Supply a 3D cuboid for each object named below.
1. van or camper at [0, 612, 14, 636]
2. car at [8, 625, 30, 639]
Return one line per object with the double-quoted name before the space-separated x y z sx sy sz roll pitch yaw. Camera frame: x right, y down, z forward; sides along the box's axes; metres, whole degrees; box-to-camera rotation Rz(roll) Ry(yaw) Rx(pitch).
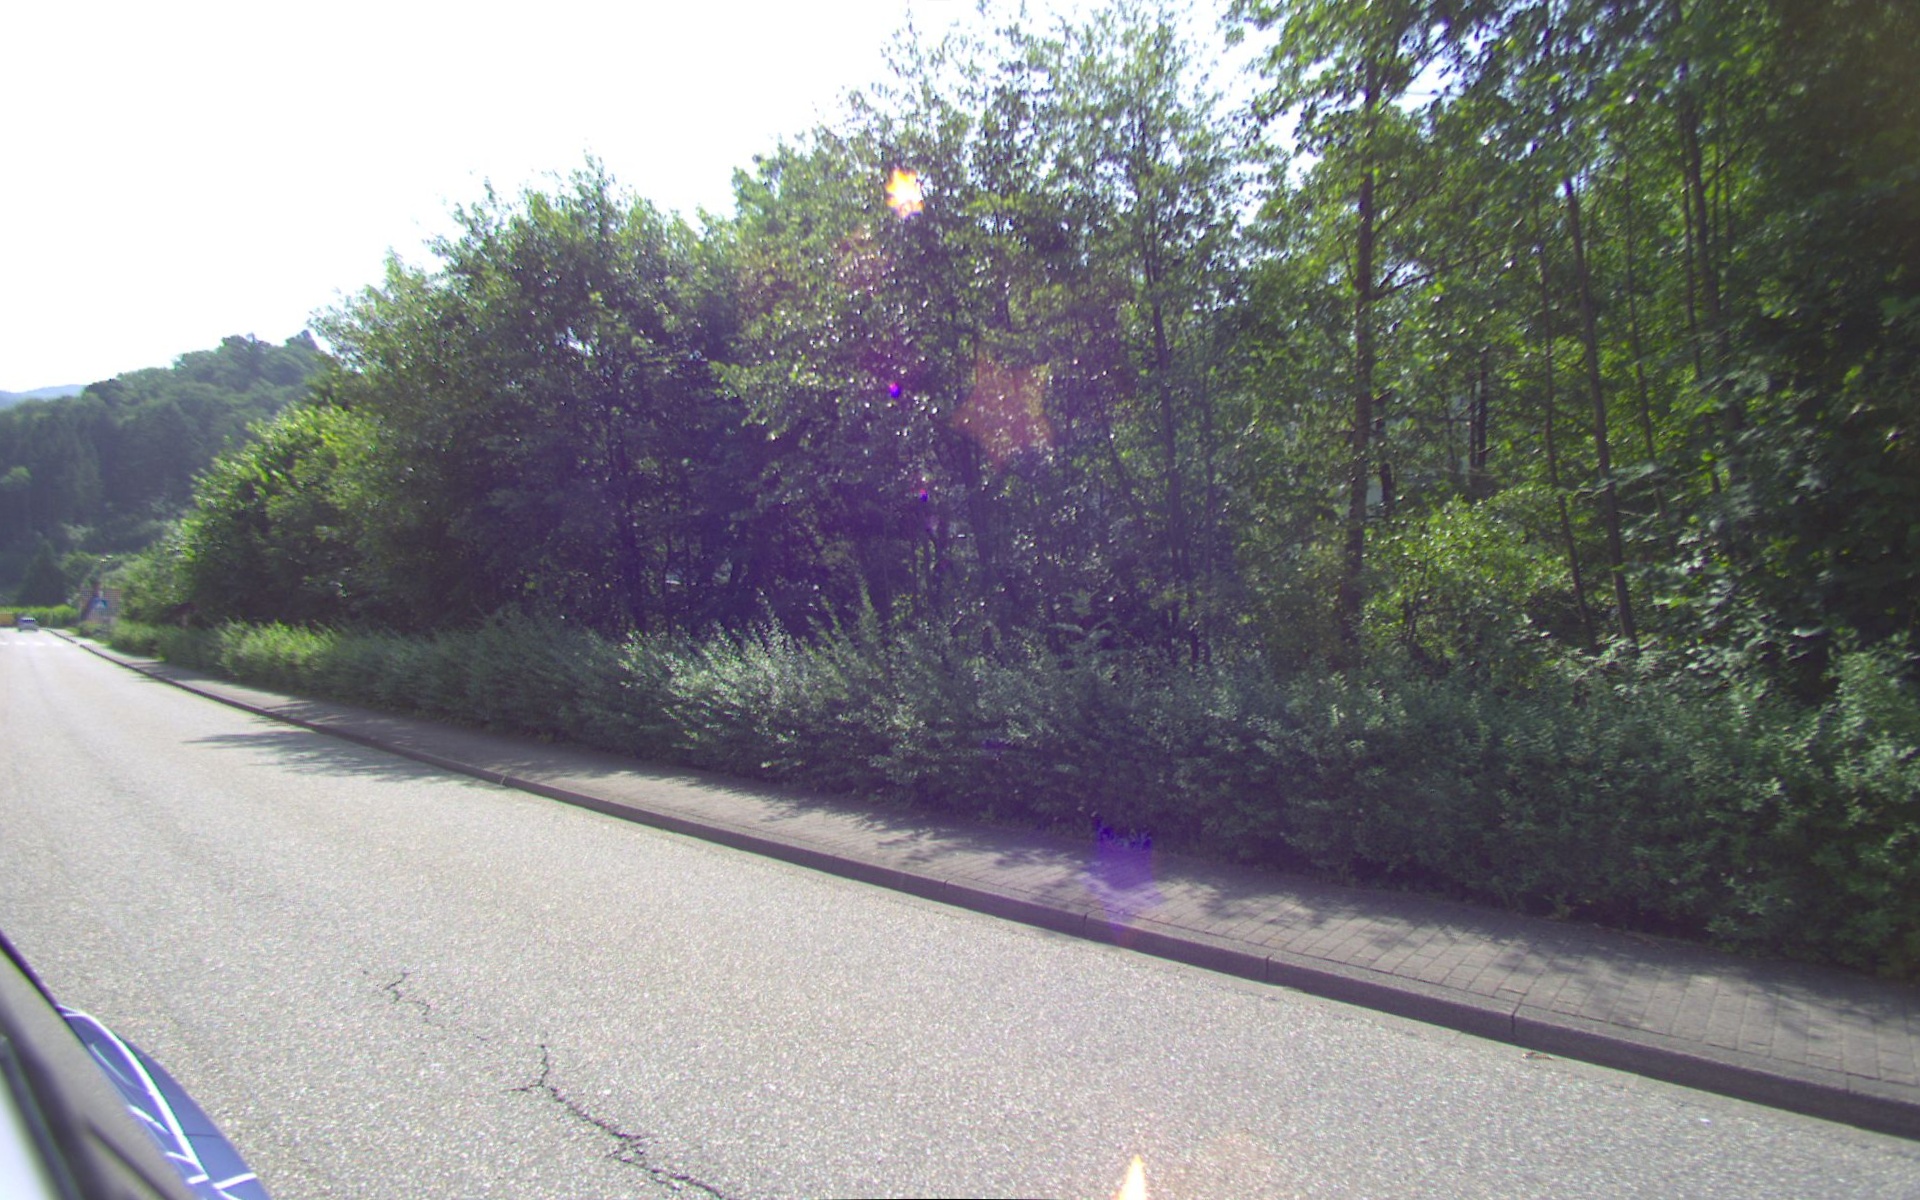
"van or camper" -123.061 3.084 129.788 2.330 2.976 8.059 5 -5 -43
"car" -102.047 3.466 109.785 1.571 1.494 3.762 4 -4 -41
